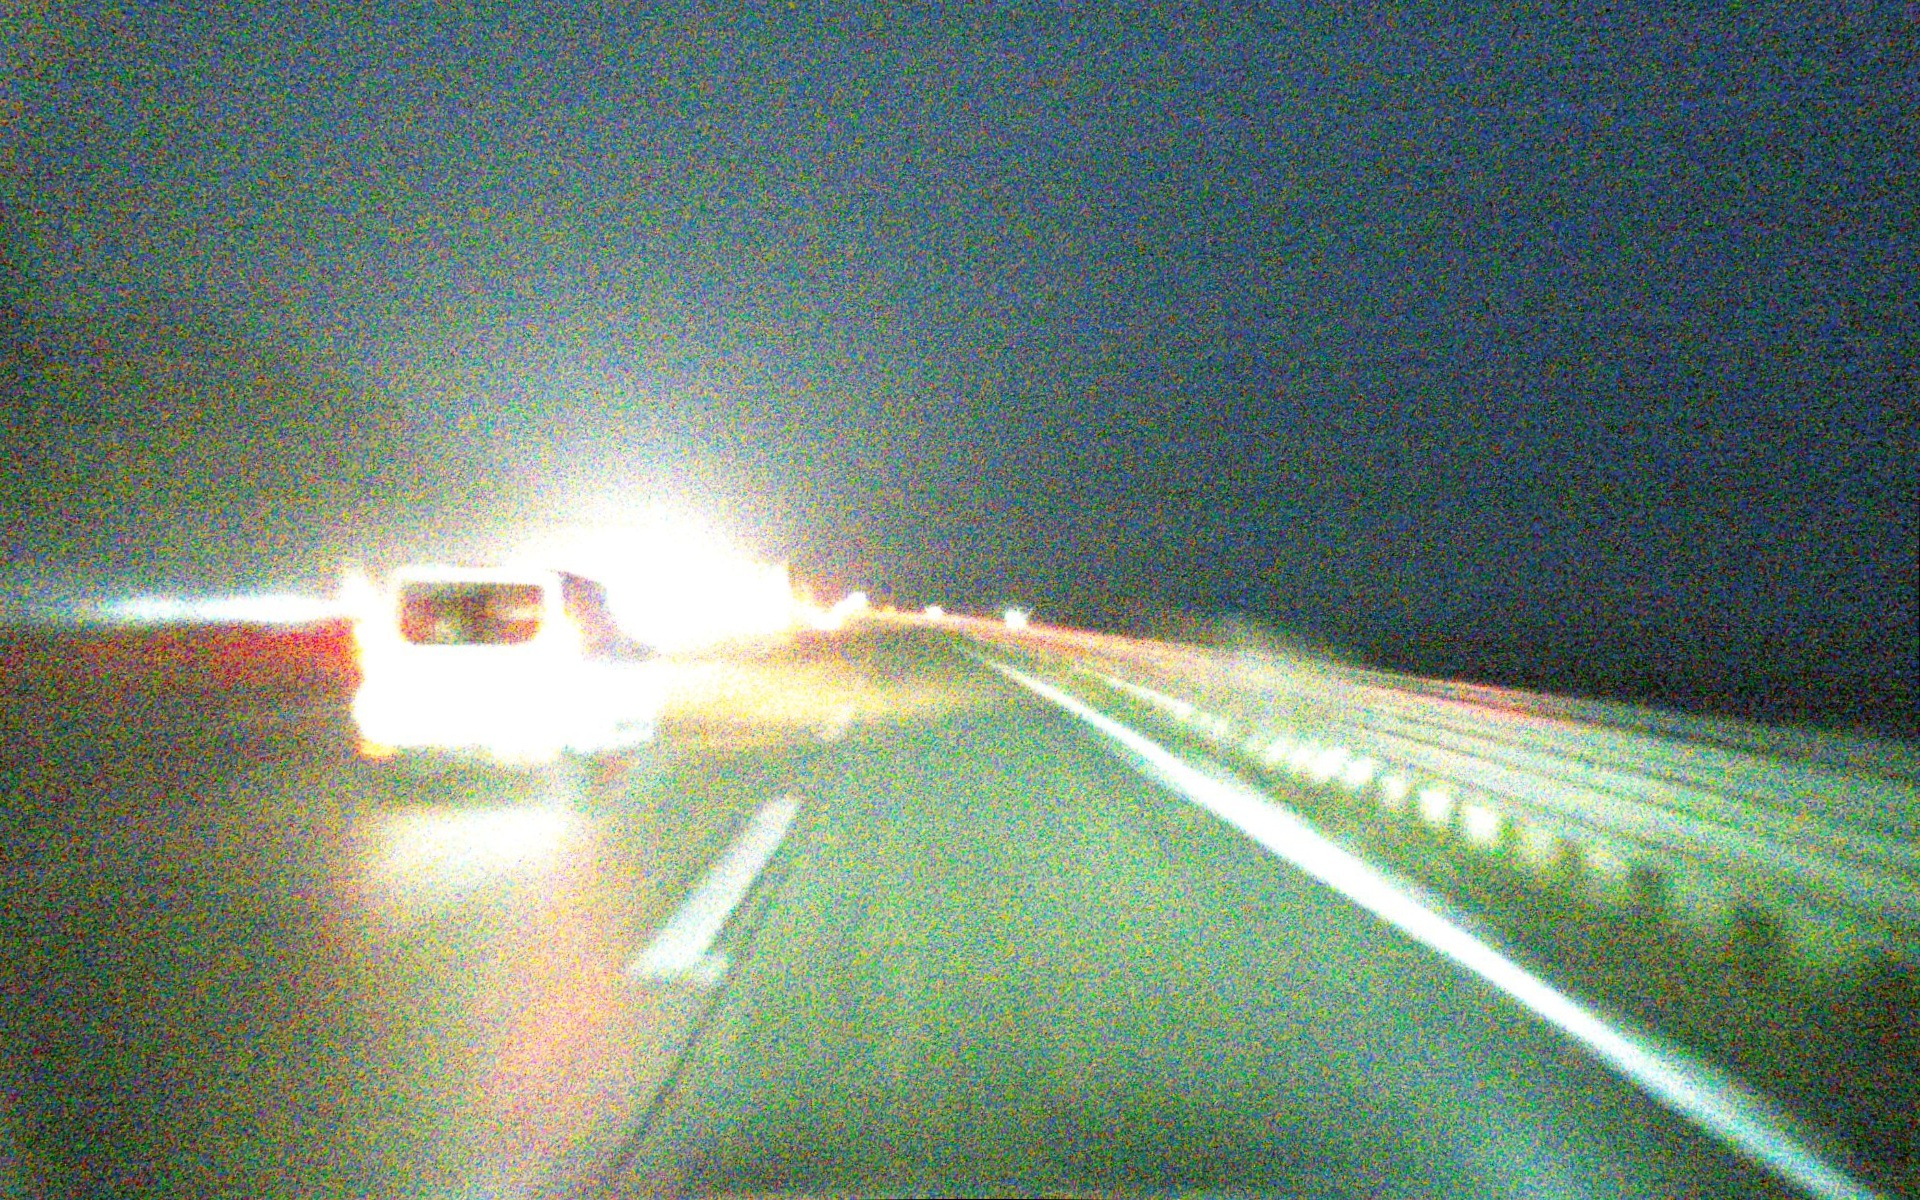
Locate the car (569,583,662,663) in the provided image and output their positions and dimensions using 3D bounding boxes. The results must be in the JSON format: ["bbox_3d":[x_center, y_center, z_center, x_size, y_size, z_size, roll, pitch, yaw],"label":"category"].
[{"bbox_3d":[-9.759,0.625,47.192,1.955,2.048,4.563,4,-1,-5],"label":"car"}]

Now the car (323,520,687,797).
[{"bbox_3d":[-3.814,0.455,14.879,1.953,2.049,5.015,1,0,-1],"label":"car"}]

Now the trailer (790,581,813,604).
[{"bbox_3d":[-20.661,-0.989,216.639,2.635,2.746,12.844,4,0,-5],"label":"trailer"}]

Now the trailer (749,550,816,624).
[{"bbox_3d":[-10.111,-0.635,95.475,2.540,3.790,13.647,4,-1,-2],"label":"trailer"}]

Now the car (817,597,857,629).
[{"bbox_3d":[-7.656,0.807,103.259,1.953,1.850,4.000,3,-1,1],"label":"car"}]

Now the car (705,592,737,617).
[{"bbox_3d":[-17.155,0.286,118.931,1.955,1.646,3.996,4,0,-5],"label":"car"}]
